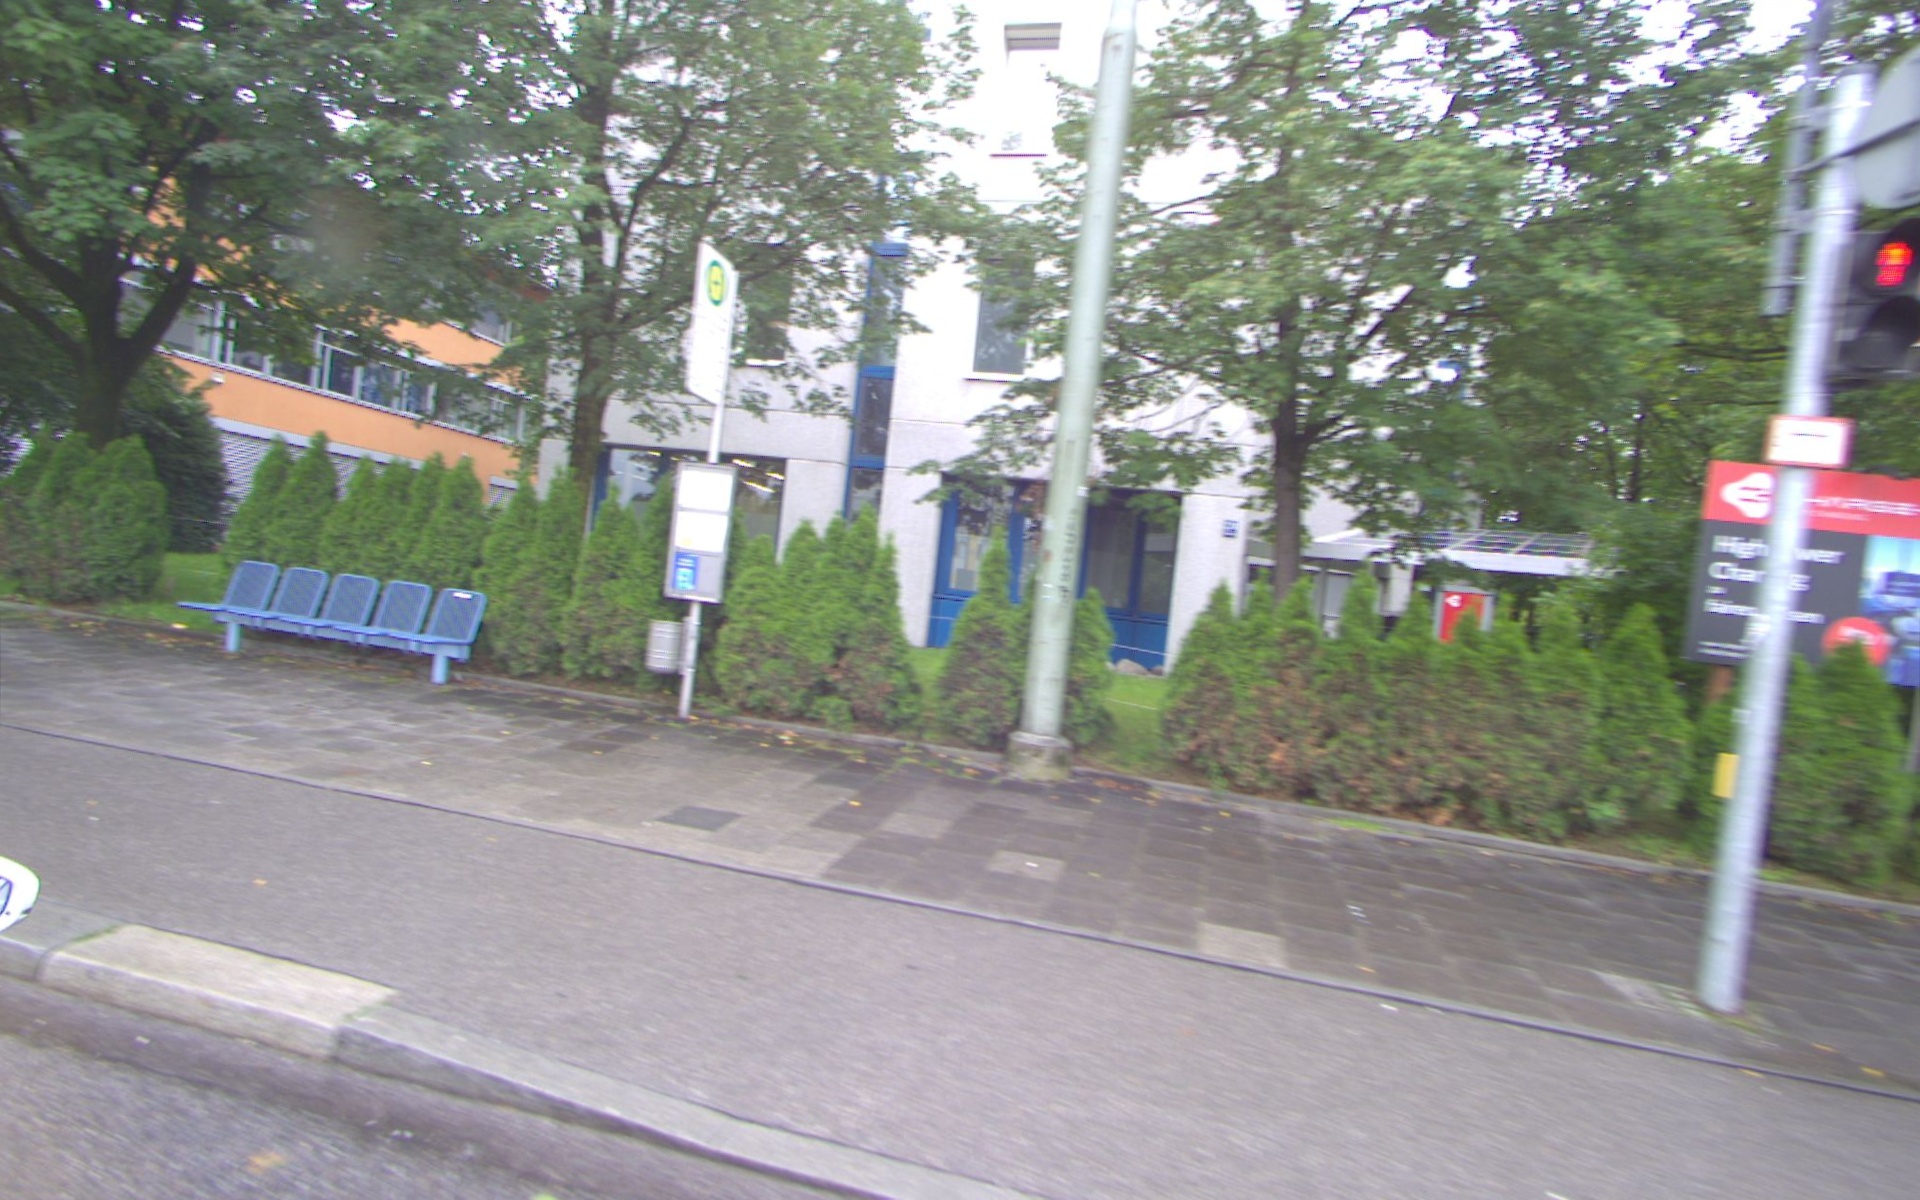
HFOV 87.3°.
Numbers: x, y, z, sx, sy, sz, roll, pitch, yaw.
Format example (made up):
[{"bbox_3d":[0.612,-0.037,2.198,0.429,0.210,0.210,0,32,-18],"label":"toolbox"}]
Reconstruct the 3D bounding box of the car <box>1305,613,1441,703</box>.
[{"bbox_3d":[8.561,1.147,20.647,1.838,1.437,4.165,7,2,31],"label":"car"}]

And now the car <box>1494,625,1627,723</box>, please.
[{"bbox_3d":[11.457,1.341,19.253,1.838,1.437,4.165,7,2,31],"label":"car"}]
